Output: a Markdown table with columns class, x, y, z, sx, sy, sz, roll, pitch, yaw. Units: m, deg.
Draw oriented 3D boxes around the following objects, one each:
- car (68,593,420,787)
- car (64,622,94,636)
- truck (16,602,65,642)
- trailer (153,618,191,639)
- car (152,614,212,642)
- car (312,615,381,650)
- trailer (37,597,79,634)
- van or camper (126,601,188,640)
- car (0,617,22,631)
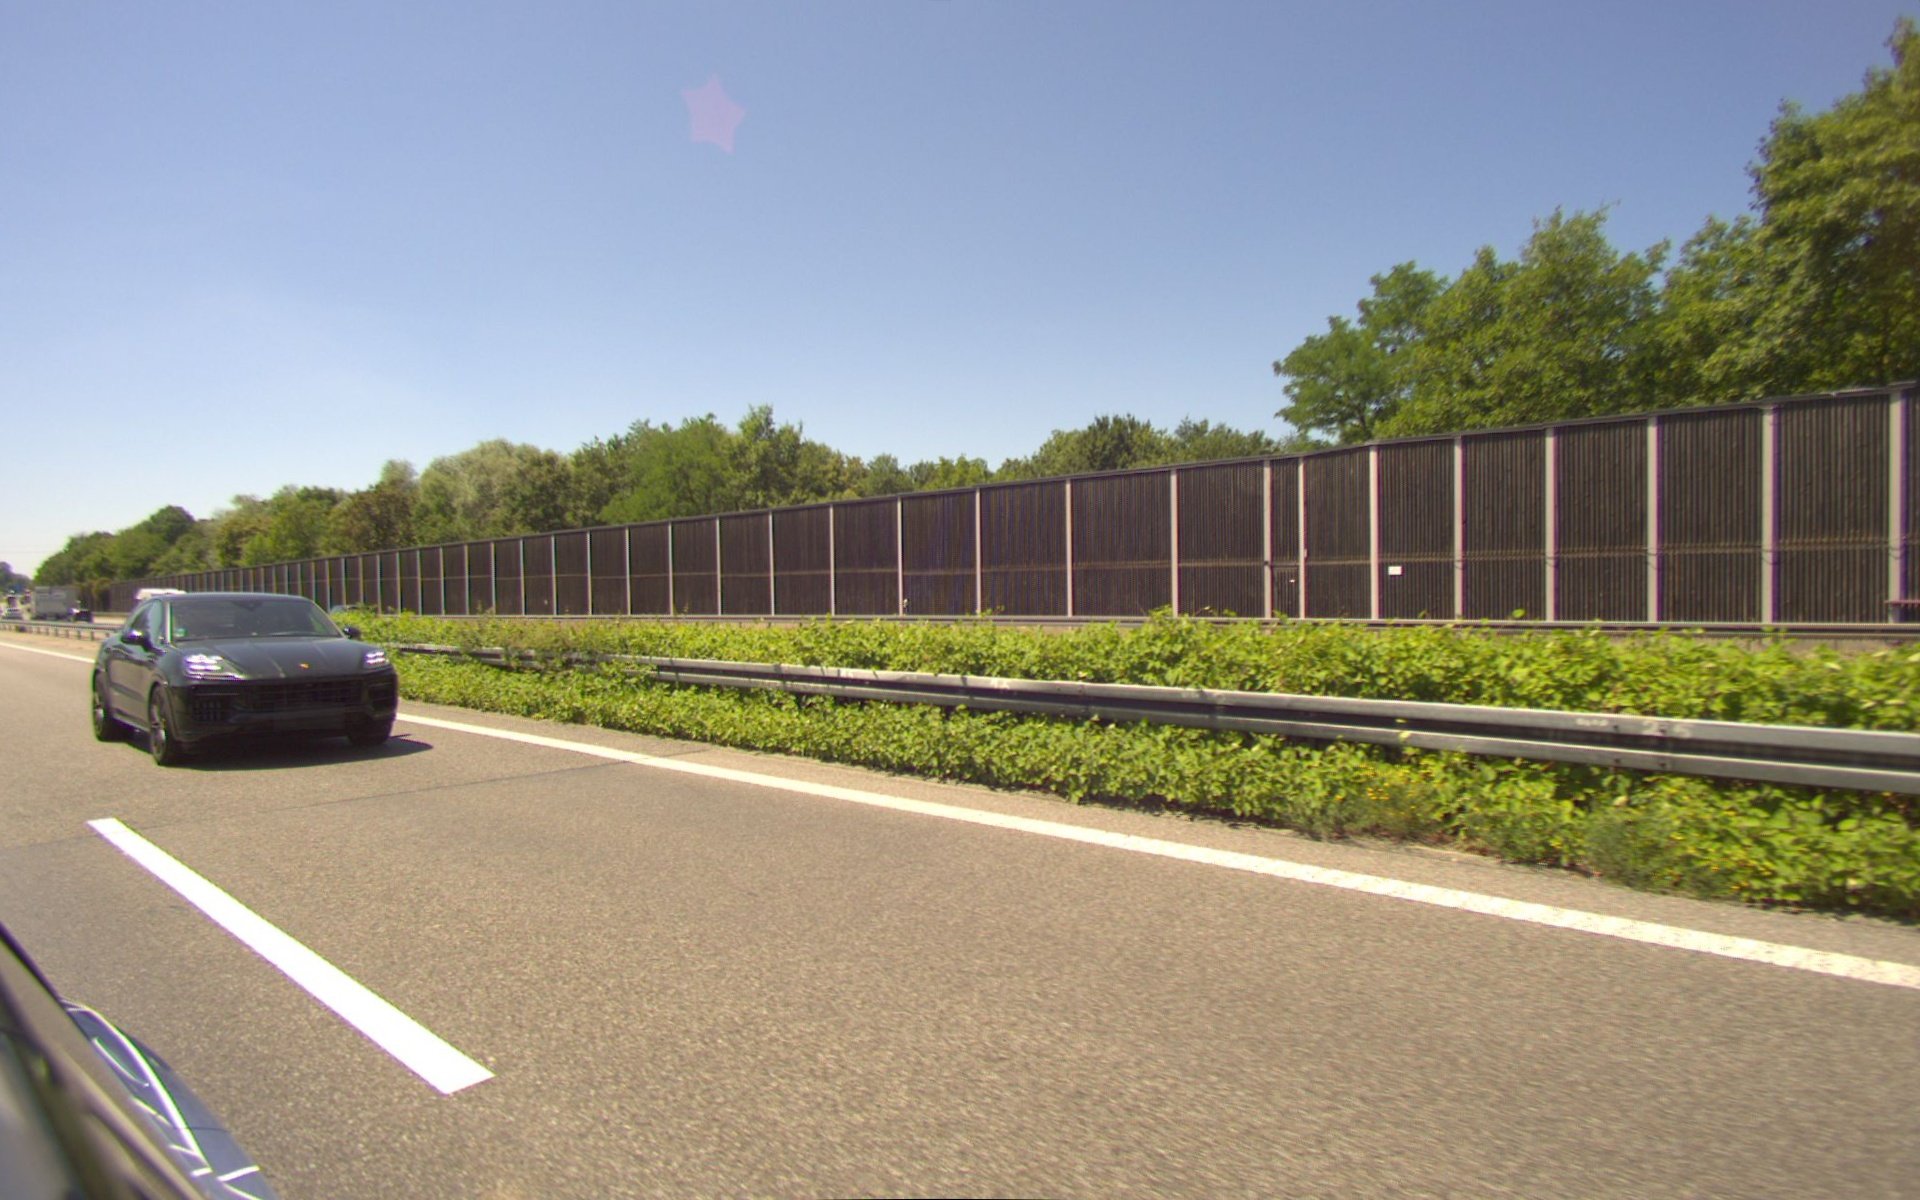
| class | x | y | z | sx | sy | sz | roll | pitch | yaw |
| --- | --- | --- | --- | --- | --- | --- | --- | --- | --- |
| car | -8.170 | 0.817 | 11.262 | 5.771 | 1.637 | 2.022 | -1 | -1 | 42 |
| car | -92.719 | 3.074 | 106.493 | 4.580 | 1.385 | 1.899 | -1 | -1 | 42 |
| truck | -80.904 | 1.949 | 89.010 | 6.916 | 3.378 | 2.385 | -1 | -1 | 41 |
| trailer | -61.921 | 2.239 | 79.507 | 3.090 | 1.591 | 1.709 | -1 | -4 | 41 |
| car | -39.277 | 1.393 | 51.069 | 3.998 | 1.365 | 1.688 | -1 | -1 | 42 |
| car | -29.961 | 1.577 | 49.394 | 3.998 | 1.612 | 1.795 | -1 | -1 | 42 |
| trailer | -107.811 | 1.885 | 120.889 | 14.207 | 4.107 | 2.316 | -1 | -1 | 43 |
| van or camper | -65.868 | 1.715 | 82.969 | 7.371 | 2.936 | 2.531 | -1 | -4 | 41 |
| car | -107.945 | 2.755 | 114.957 | 4.583 | 1.558 | 1.898 | -1 | -1 | 44 |
